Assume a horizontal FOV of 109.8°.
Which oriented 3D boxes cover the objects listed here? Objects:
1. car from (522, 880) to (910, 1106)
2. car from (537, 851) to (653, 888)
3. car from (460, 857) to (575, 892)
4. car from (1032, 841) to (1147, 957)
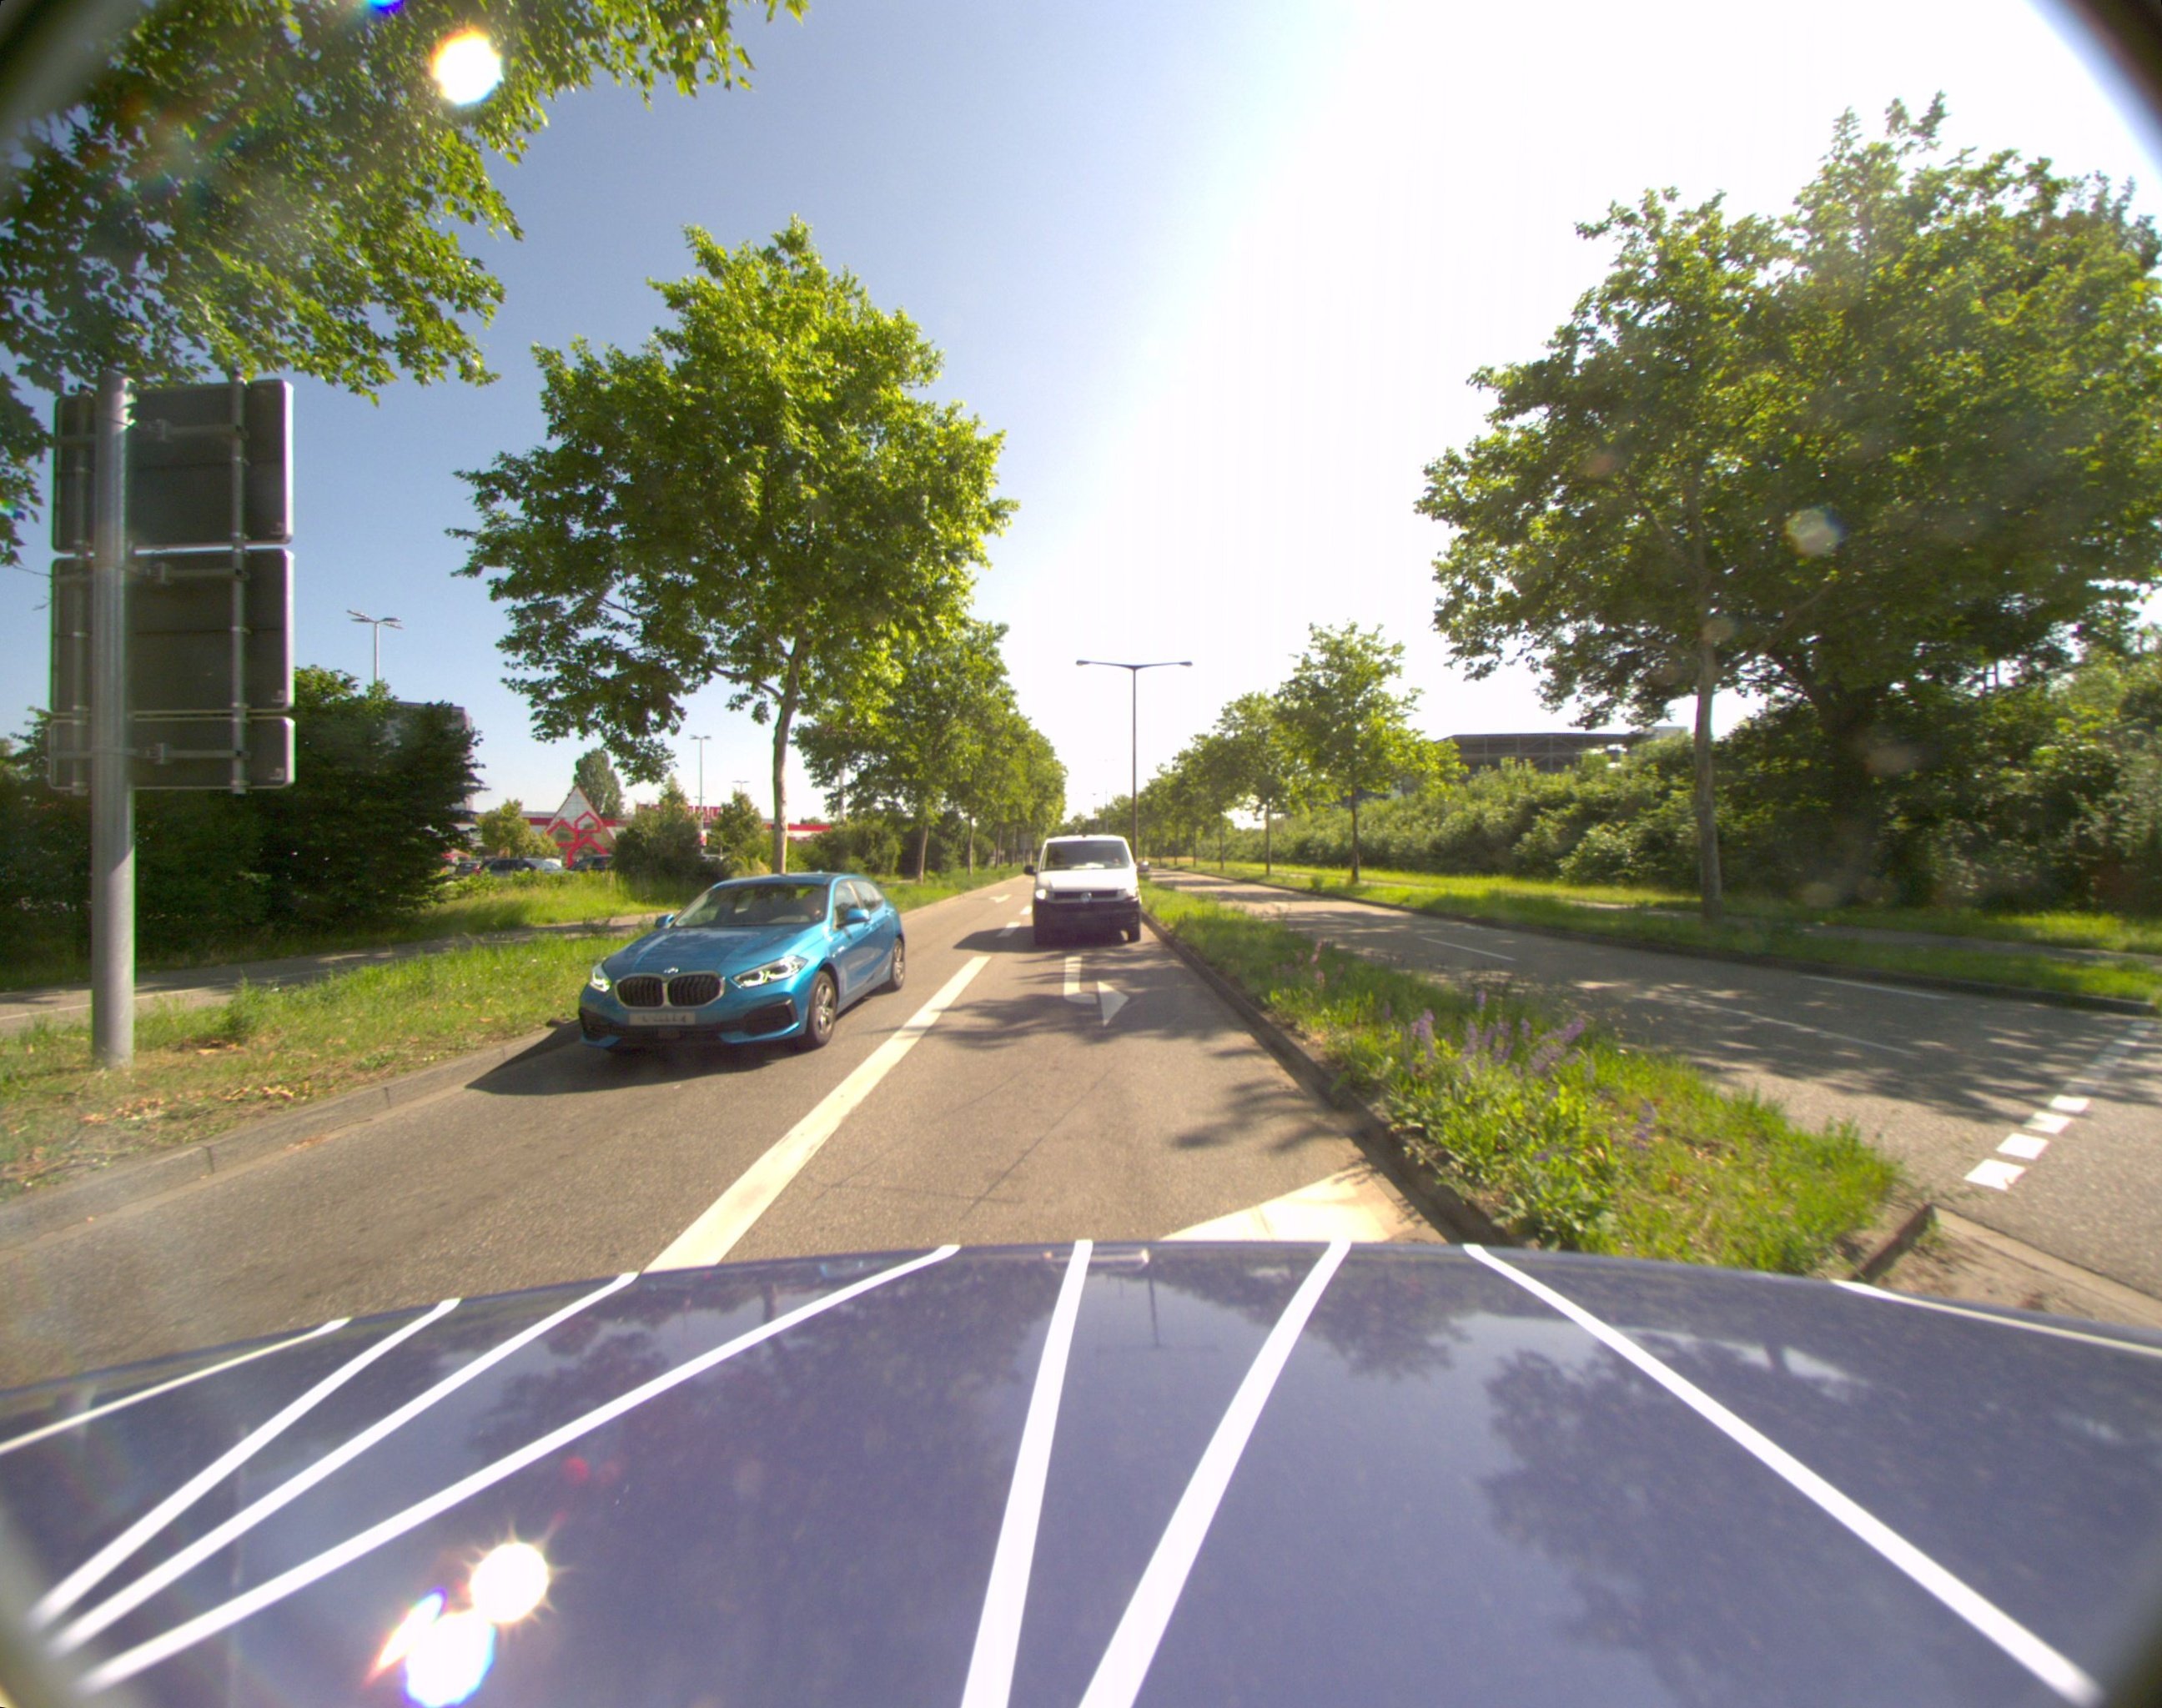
[{"bbox_3d":[-3.026,1.050,7.421,1.872,1.412,4.129,-1,0,-2],"label":"car"},{"bbox_3d":[-22.228,0.677,34.873,3.996,1.474,2.000,-2,1,3],"label":"car"},{"bbox_3d":[-23.161,0.829,31.294,3.527,1.240,1.613,-2,1,3],"label":"car"},{"bbox_3d":[0.080,0.726,14.905,1.872,1.889,4.880,-1,0,-2],"label":"car"}]
